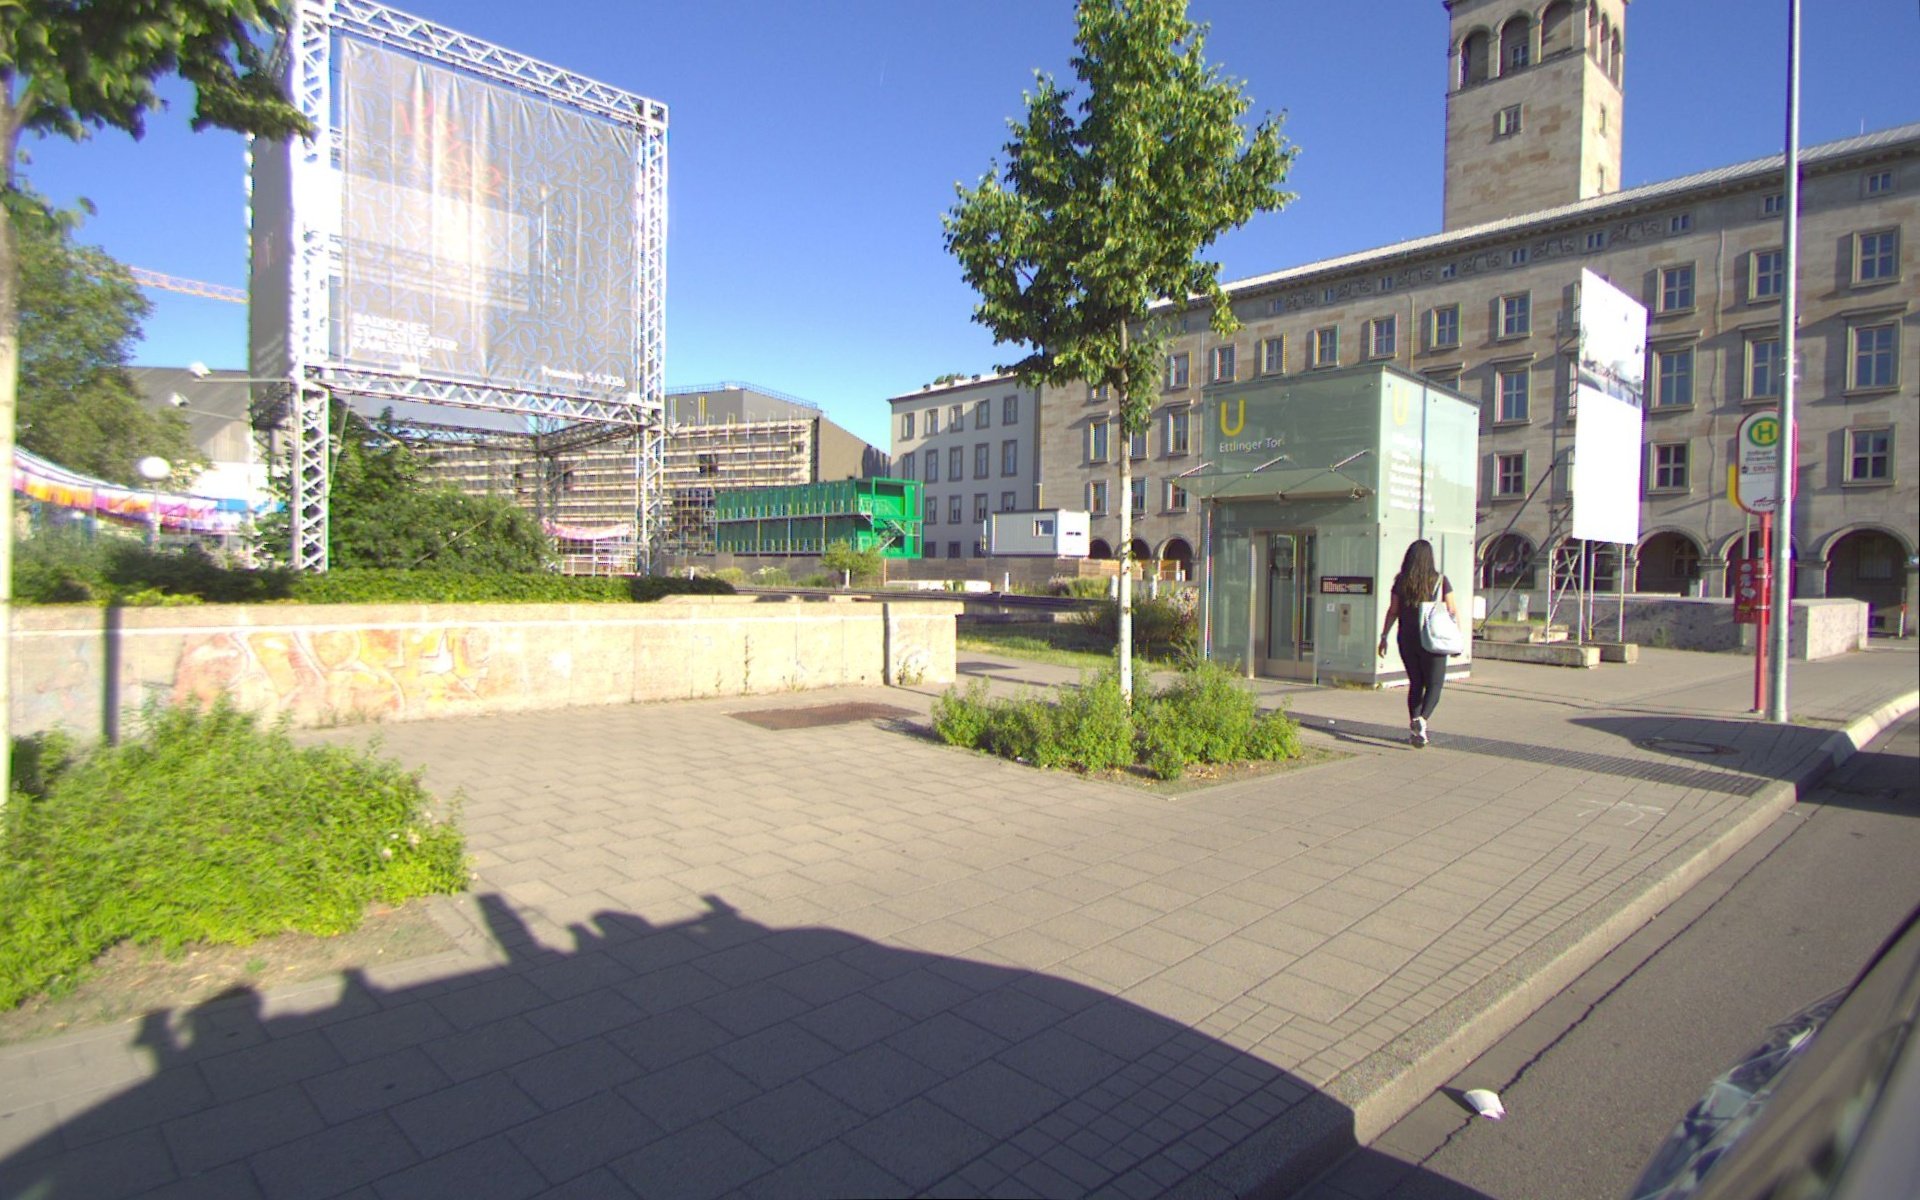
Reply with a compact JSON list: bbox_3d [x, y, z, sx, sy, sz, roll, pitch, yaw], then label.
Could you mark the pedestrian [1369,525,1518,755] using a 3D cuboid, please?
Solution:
[{"bbox_3d":[4.062,0.296,8.603,0.929,1.809,1.067,1,1,16],"label":"pedestrian"}]
